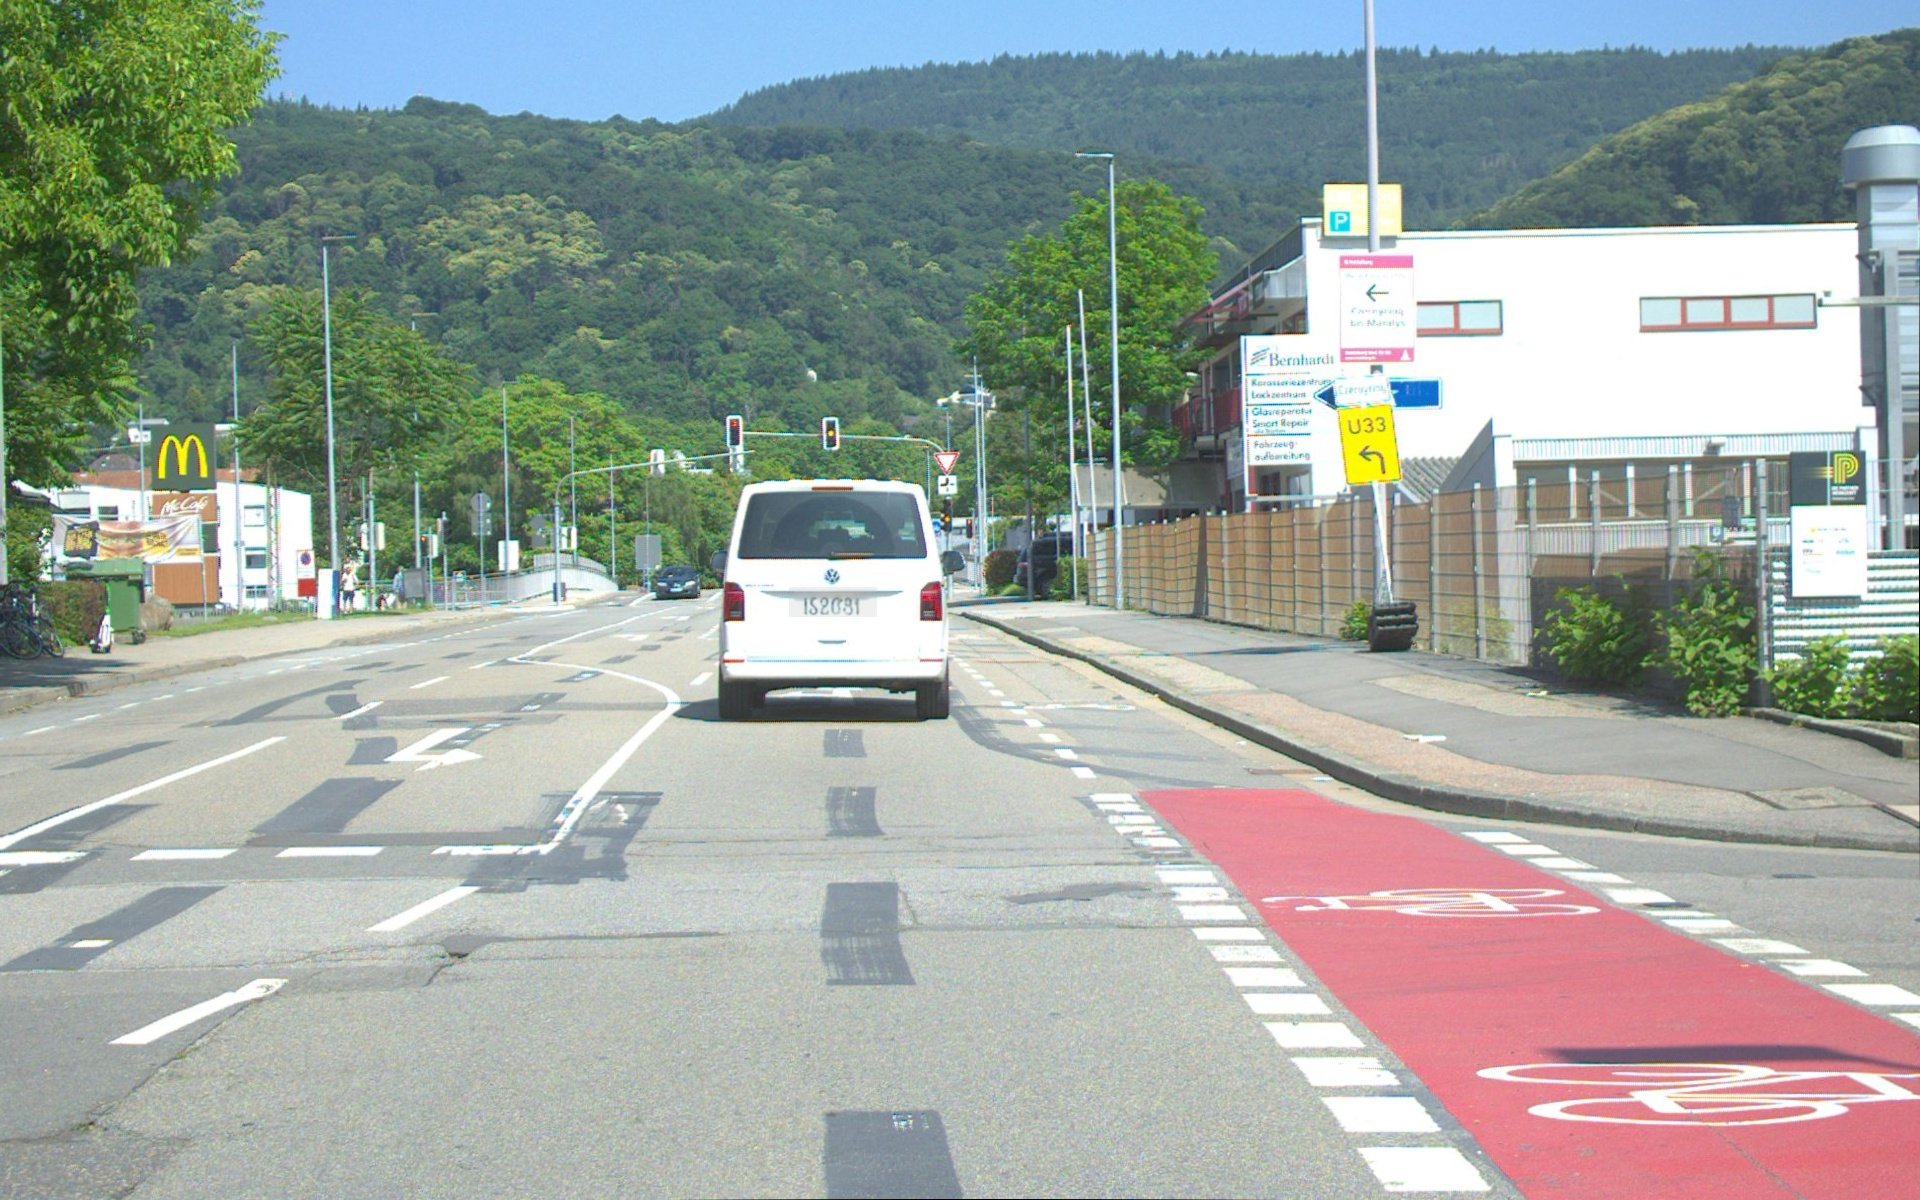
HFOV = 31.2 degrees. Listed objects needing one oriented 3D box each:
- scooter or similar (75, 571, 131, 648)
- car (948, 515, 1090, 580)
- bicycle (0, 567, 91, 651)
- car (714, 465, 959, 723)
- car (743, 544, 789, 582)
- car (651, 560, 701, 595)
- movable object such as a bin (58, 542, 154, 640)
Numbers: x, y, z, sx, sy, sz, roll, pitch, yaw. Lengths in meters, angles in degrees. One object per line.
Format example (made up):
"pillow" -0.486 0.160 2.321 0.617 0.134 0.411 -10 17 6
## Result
"scooter or similar" -13.045 0.140 52.366 0.646 1.124 1.623 2 1 -9
"car" 1.734 -1.528 99.871 3.987 1.769 2.000 -2 1 4
"bicycle" -13.049 0.116 48.628 1.026 1.114 2.766 1 1 -5
"car" -1.133 -0.085 29.601 1.934 2.052 4.545 0 1 -4
"car" -8.435 -1.608 149.717 1.849 1.583 4.000 -2 1 -2
"car" -11.954 -0.953 145.048 1.993 1.365 4.327 -2 1 -4
"movable object such as a bin" -14.411 -0.161 58.054 1.447 1.585 1.307 -2 1 -11
